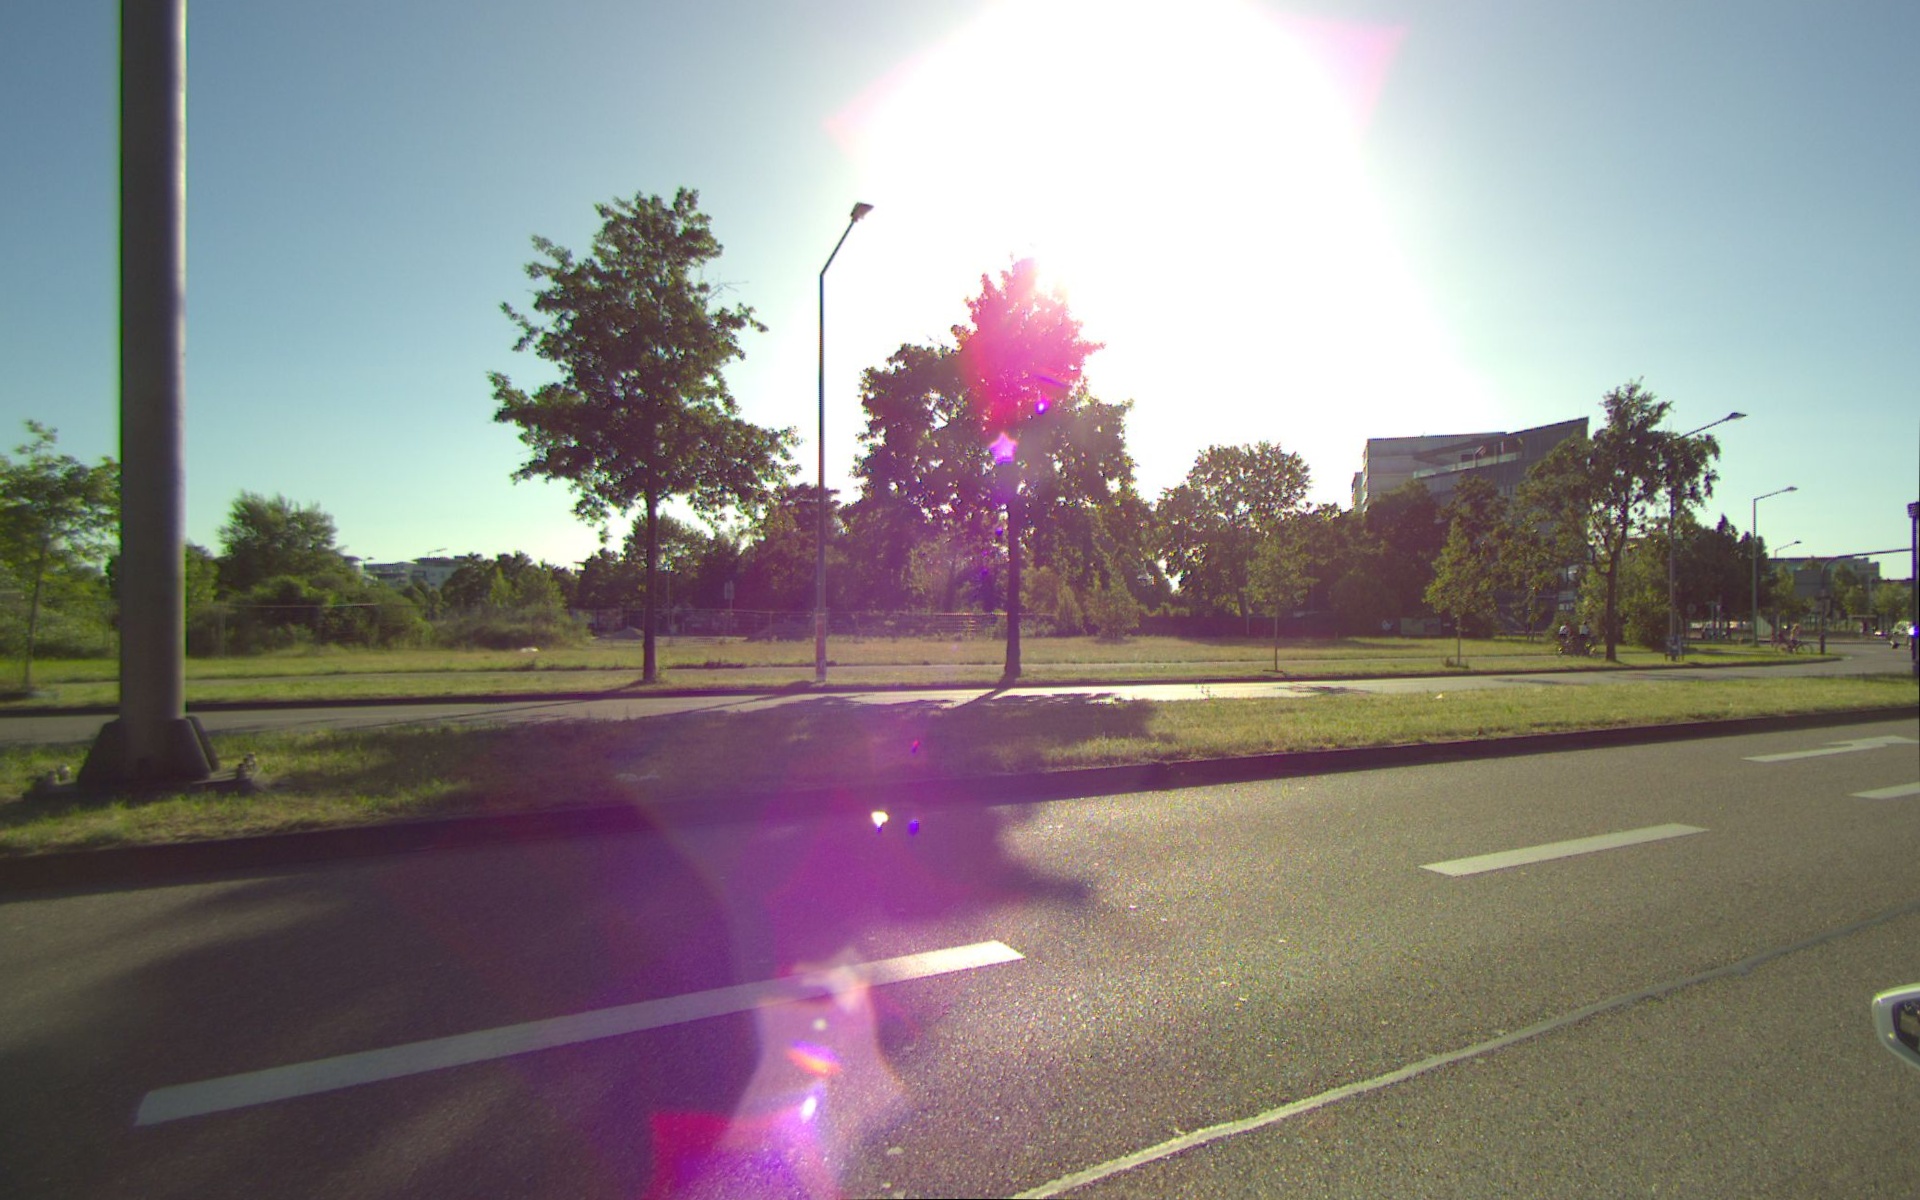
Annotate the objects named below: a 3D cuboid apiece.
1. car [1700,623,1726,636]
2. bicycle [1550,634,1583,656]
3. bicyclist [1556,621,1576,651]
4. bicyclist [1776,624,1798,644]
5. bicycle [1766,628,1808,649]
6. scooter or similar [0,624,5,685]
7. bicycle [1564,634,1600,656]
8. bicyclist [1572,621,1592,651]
[{"bbox_3d":[107.063,4.130,142.814,1.786,1.728,4.000,1,0,20],"label":"car"},{"bbox_3d":[29.419,2.164,48.707,2.072,1.016,0.484,1,-1,-31],"label":"bicycle"},{"bbox_3d":[29.379,1.740,48.684,0.835,1.413,0.480,1,-1,-31],"label":"bicyclist"},{"bbox_3d":[45.588,1.881,55.372,0.595,1.122,0.734,1,-1,-17],"label":"bicyclist"},{"bbox_3d":[45.583,2.120,55.387,0.595,1.122,1.726,1,-1,-16],"label":"bicycle"},{"bbox_3d":[-18.948,1.037,18.941,1.312,1.164,0.230,1,-1,-30],"label":"scooter or similar"},{"bbox_3d":[29.356,2.128,47.423,2.072,1.016,0.567,1,-1,-31],"label":"bicycle"},{"bbox_3d":[29.377,1.707,47.440,0.739,1.411,0.559,1,-1,-31],"label":"bicyclist"}]
